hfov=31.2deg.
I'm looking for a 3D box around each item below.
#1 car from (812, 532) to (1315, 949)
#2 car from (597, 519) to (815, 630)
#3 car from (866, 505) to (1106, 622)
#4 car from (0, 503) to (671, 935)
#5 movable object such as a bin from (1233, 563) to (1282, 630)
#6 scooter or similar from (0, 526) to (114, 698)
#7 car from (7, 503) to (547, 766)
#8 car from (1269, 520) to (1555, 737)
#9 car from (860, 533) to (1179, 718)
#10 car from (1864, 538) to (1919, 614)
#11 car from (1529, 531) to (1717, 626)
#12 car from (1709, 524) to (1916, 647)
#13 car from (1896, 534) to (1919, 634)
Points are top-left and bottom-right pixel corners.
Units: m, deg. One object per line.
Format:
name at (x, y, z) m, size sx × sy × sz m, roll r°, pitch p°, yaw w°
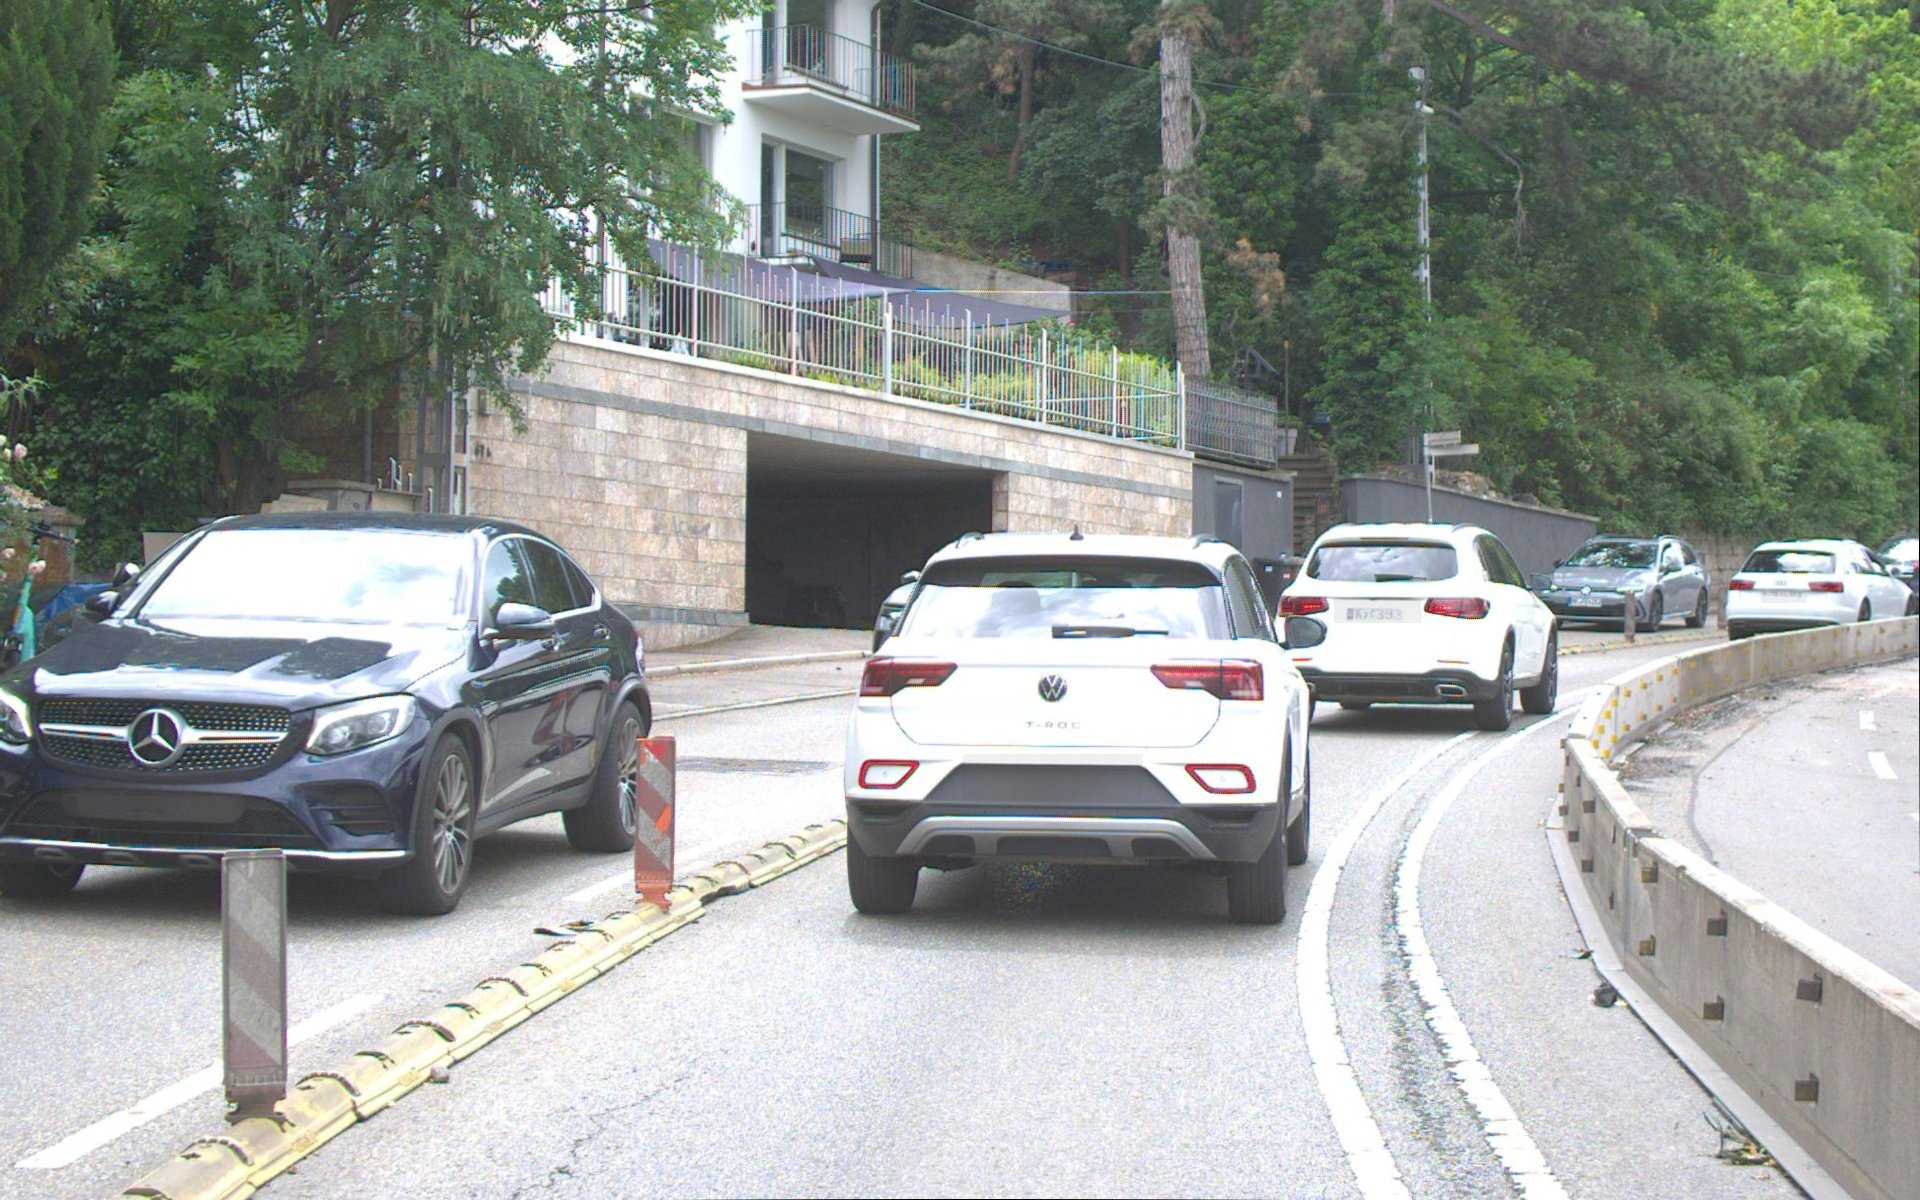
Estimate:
car at (0.588, 0.488, 15.031) m, size 1.810 × 1.526 × 3.999 m, roll 1°, pitch 1°, yaw 7°
car at (-3.509, -0.336, 48.080) m, size 1.772 × 1.414 × 3.542 m, roll 2°, pitch 0°, yaw 18°
car at (0.401, -0.484, 47.207) m, size 1.784 × 1.448 × 3.697 m, roll 2°, pitch 0°, yaw 27°
car at (-2.641, 0.396, 14.923) m, size 1.768 × 1.562 × 4.228 m, roll 2°, pitch 1°, yaw 9°
movable object such as a bin at (4.412, -0.055, 50.978) m, size 0.549 × 0.973 × 0.509 m, roll 0°, pitch 1°, yaw 30°
scooter or similar at (-6.740, 0.081, 25.380) m, size 0.416 × 1.228 × 1.120 m, roll 3°, pitch 1°, yaw 15°
car at (-4.342, 0.167, 22.691) m, size 1.737 × 1.446 × 4.681 m, roll 4°, pitch 1°, yaw 12°
car at (3.807, 0.179, 28.424) m, size 1.811 × 1.657 × 3.997 m, roll 0°, pitch 1°, yaw 15°
car at (0.613, 0.179, 30.972) m, size 1.769 × 1.512 × 4.022 m, roll 2°, pitch 1°, yaw 17°
car at (19.764, -0.489, 69.495) m, size 1.770 × 1.447 × 4.301 m, roll 3°, pitch 2°, yaw 30°
car at (10.442, -0.362, 53.903) m, size 1.770 × 1.430 × 4.302 m, roll 1°, pitch 1°, yaw 27°
car at (12.074, -0.233, 48.542) m, size 1.813 × 1.657 × 3.993 m, roll 0°, pitch 1°, yaw 30°
car at (17.283, -0.304, 58.215) m, size 1.813 × 1.657 × 3.994 m, roll 0°, pitch 1°, yaw 30°
